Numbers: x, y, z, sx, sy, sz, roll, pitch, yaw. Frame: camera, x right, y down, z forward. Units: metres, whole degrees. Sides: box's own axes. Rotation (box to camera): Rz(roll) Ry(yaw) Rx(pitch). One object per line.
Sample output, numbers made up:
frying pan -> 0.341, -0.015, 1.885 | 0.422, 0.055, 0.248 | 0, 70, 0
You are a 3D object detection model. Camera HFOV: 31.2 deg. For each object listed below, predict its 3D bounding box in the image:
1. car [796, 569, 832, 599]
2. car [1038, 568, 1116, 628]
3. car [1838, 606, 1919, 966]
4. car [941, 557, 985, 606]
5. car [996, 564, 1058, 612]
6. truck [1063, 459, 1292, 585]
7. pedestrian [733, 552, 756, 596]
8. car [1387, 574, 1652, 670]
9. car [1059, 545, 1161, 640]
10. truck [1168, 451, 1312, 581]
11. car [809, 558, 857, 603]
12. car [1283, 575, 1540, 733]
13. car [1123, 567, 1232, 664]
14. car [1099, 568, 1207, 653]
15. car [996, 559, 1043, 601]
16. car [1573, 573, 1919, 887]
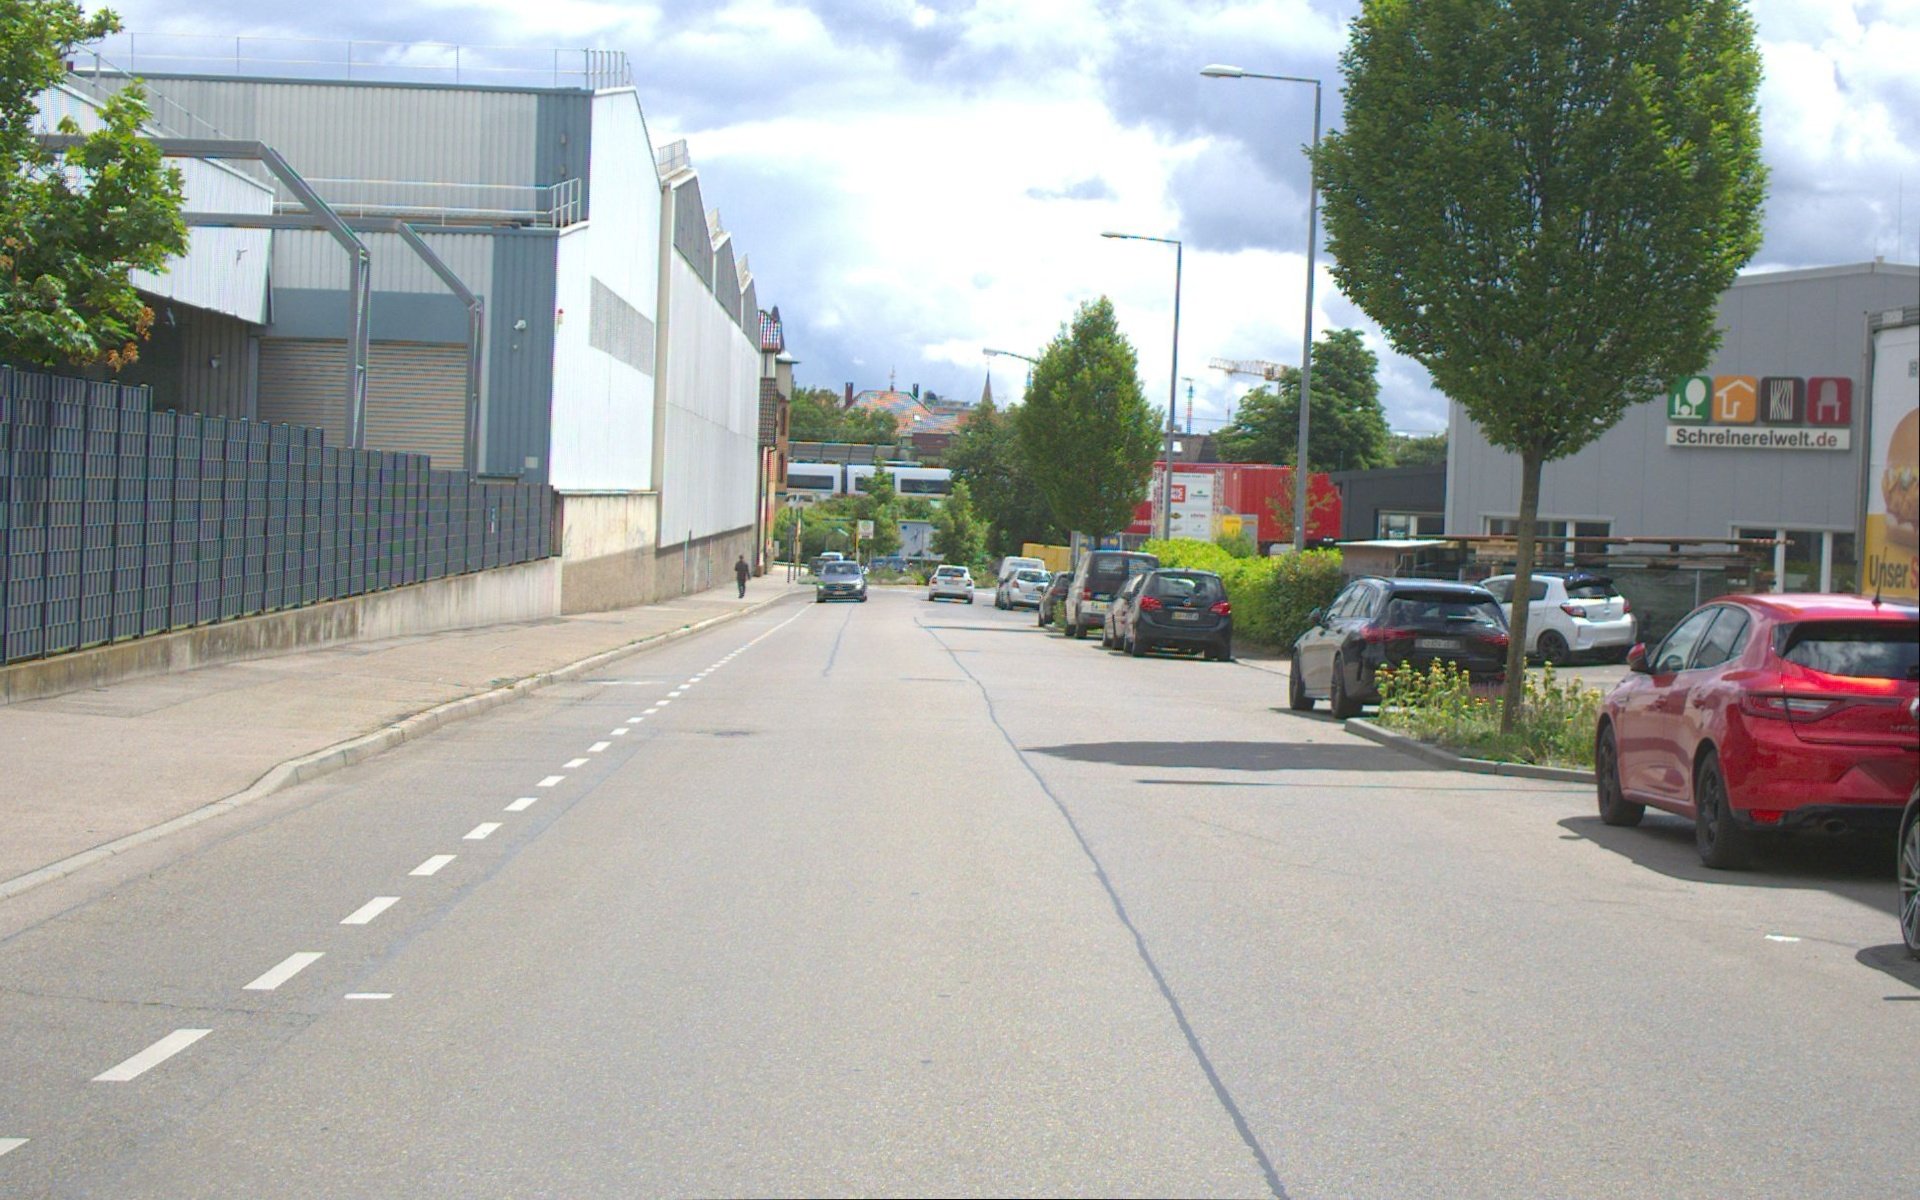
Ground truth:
car -> -7.962, -0.879, 187.797 | 1.852, 1.481, 4.000 | 2, -1, -2
car -> 3.063, -0.062, 90.671 | 1.714, 1.468, 4.511 | 2, 0, -2
car -> 4.806, 0.835, 12.535 | 1.735, 1.419, 4.861 | 3, 1, -2
car -> 0.109, -0.704, 134.639 | 1.567, 1.780, 3.605 | 2, -1, -2
car -> 2.344, -0.431, 121.027 | 1.701, 1.522, 3.739 | 5, 0, -5
truck -> 8.534, -3.080, 135.004 | 8.458, 4.655, 2.579 | 2, -1, 20
pedestrian -> -7.905, -0.952, 125.961 | 0.793, 1.550, 0.753 | -1, -1, -2
car -> 9.010, 0.344, 55.583 | 1.720, 1.458, 4.073 | -2, 1, -40
car -> 3.324, -0.173, 77.057 | 1.869, 1.983, 5.144 | 2, 0, -2
truck -> 10.383, -3.054, 128.234 | 2.573, 4.434, 7.865 | 2, -1, -16
car -> -4.743, -0.711, 128.515 | 1.719, 1.550, 4.288 | -1, -1, -2
car -> 4.572, 0.512, 35.466 | 1.791, 1.461, 4.709 | 2, 0, -3
car -> 3.882, 0.263, 61.959 | 1.679, 1.632, 4.122 | 2, 0, 0
car -> 3.726, 0.184, 66.997 | 1.655, 1.535, 4.734 | 2, 0, -2
car -> 2.280, -0.762, 131.698 | 1.701, 1.522, 3.738 | 2, 0, 0
car -> 4.740, 0.650, 19.265 | 1.735, 1.467, 4.262 | 2, 1, -1
